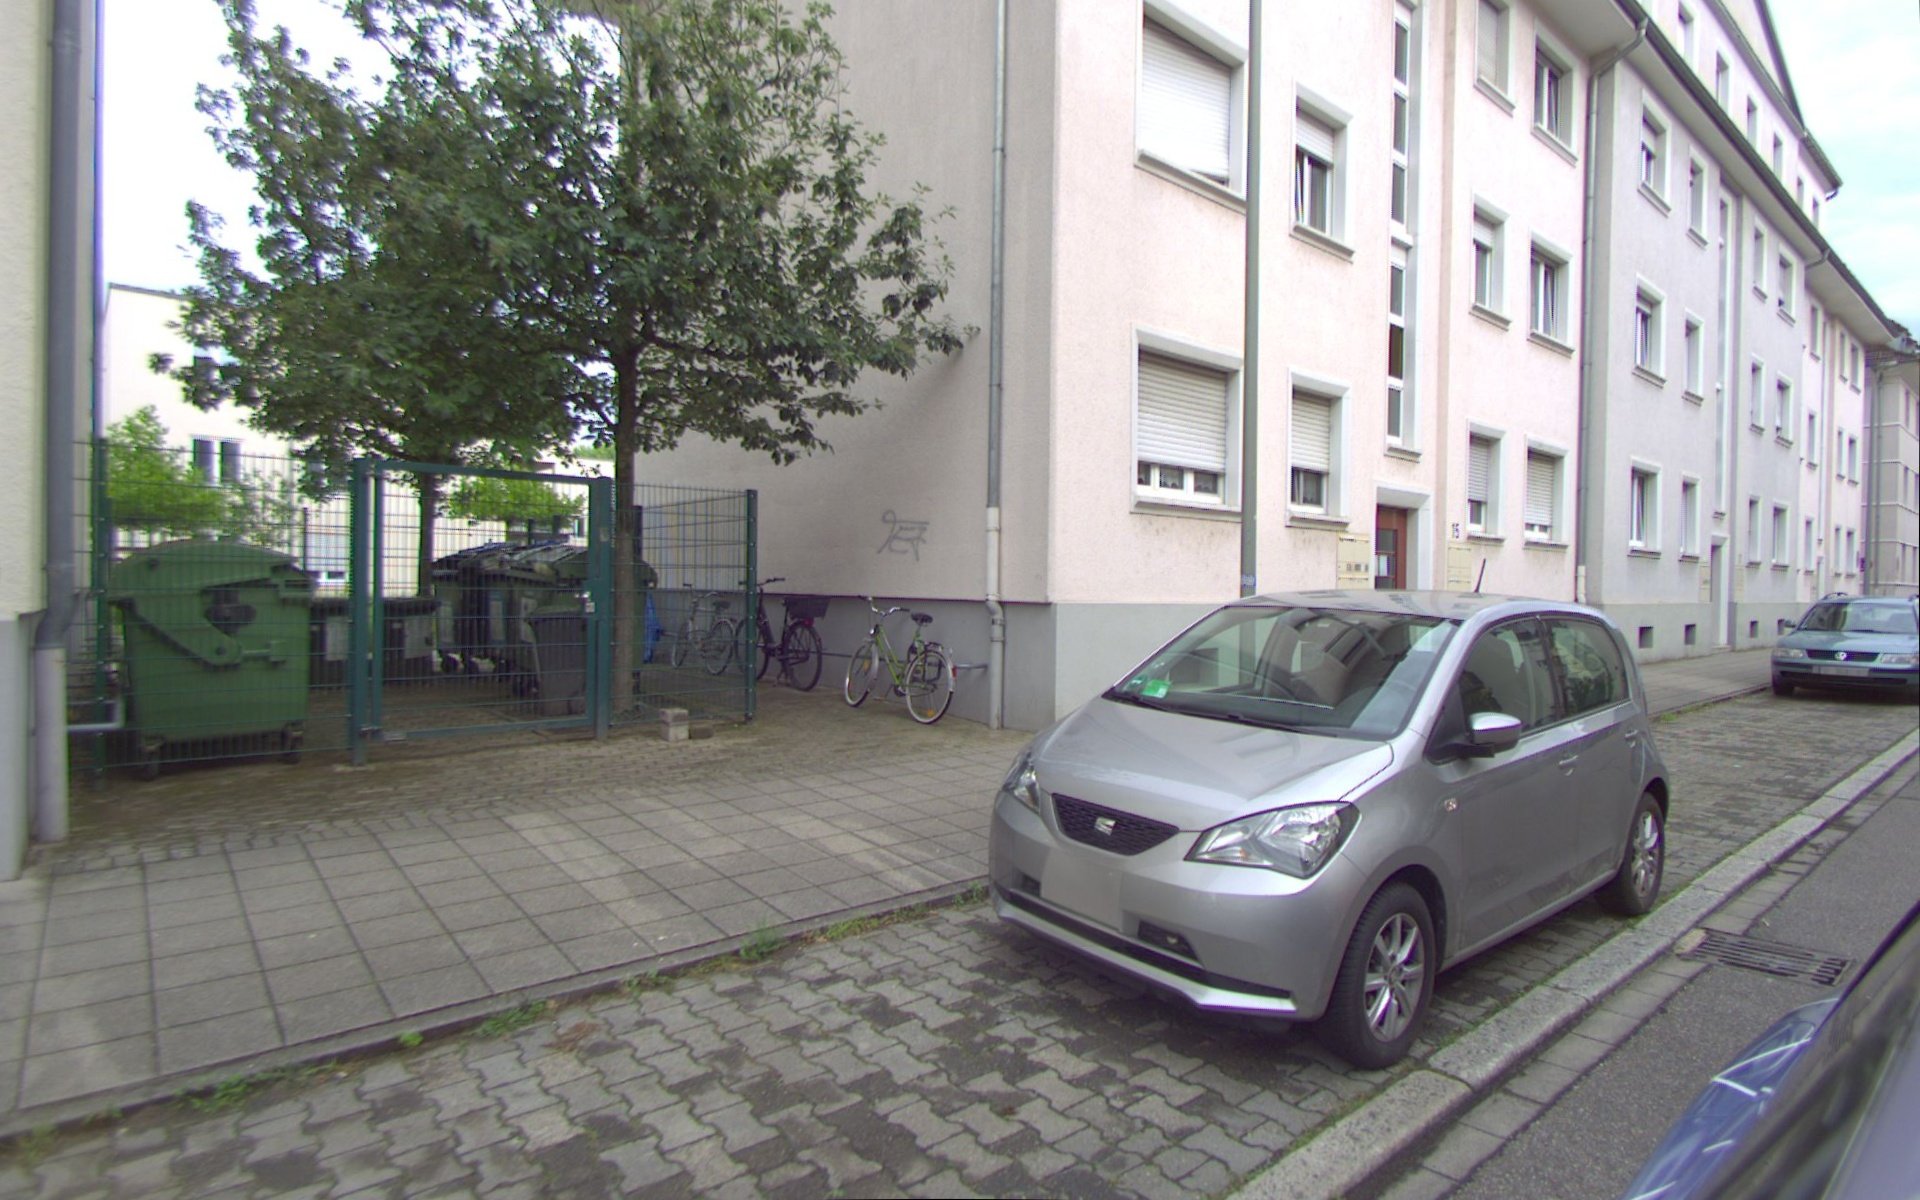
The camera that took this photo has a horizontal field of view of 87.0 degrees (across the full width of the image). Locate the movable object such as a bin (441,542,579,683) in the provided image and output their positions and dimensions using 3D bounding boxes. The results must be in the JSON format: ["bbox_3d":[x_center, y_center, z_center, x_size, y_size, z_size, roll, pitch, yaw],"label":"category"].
[{"bbox_3d":[-5.024,0.118,11.286,1.129,1.462,1.163,0,1,-41],"label":"movable object such as a bin"}]

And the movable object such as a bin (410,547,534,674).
[{"bbox_3d":[-6.034,0.108,12.501,1.129,1.462,1.163,0,1,-41],"label":"movable object such as a bin"}]

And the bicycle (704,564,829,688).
[{"bbox_3d":[-2.202,0.259,11.382,0.589,1.298,1.616,0,1,-44],"label":"bicycle"}]

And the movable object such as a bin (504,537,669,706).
[{"bbox_3d":[-3.529,0.171,9.548,1.129,1.462,1.163,0,1,-41],"label":"movable object such as a bin"}]

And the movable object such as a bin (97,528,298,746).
[{"bbox_3d":[-5.733,0.235,7.605,1.129,1.462,1.163,0,1,-41],"label":"movable object such as a bin"}]

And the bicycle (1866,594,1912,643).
[{"bbox_3d":[23.128,0.428,25.186,2.088,1.154,0.606,0,2,-41],"label":"bicycle"}]

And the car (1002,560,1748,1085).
[{"bbox_3d":[2.238,0.613,4.879,3.990,1.511,1.728,0,1,-41],"label":"car"}]

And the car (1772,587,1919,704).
[{"bbox_3d":[13.565,0.573,14.948,4.190,1.487,1.728,0,2,-41],"label":"car"}]

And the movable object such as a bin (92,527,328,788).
[{"bbox_3d":[-4.819,0.308,6.497,1.129,1.462,1.163,0,1,-41],"label":"movable object such as a bin"}]

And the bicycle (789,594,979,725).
[{"bbox_3d":[-0.788,0.503,9.731,0.637,1.090,2.212,0,1,-41],"label":"bicycle"}]

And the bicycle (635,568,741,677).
[{"bbox_3d":[-3.461,0.247,12.811,0.589,1.298,1.616,0,1,-44],"label":"bicycle"}]

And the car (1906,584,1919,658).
[{"bbox_3d":[23.058,0.482,23.004,3.736,1.619,1.788,0,1,-40],"label":"car"}]

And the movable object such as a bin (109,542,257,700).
[{"bbox_3d":[-7.816,0.176,10.171,1.129,1.462,1.163,0,1,-41],"label":"movable object such as a bin"}]
